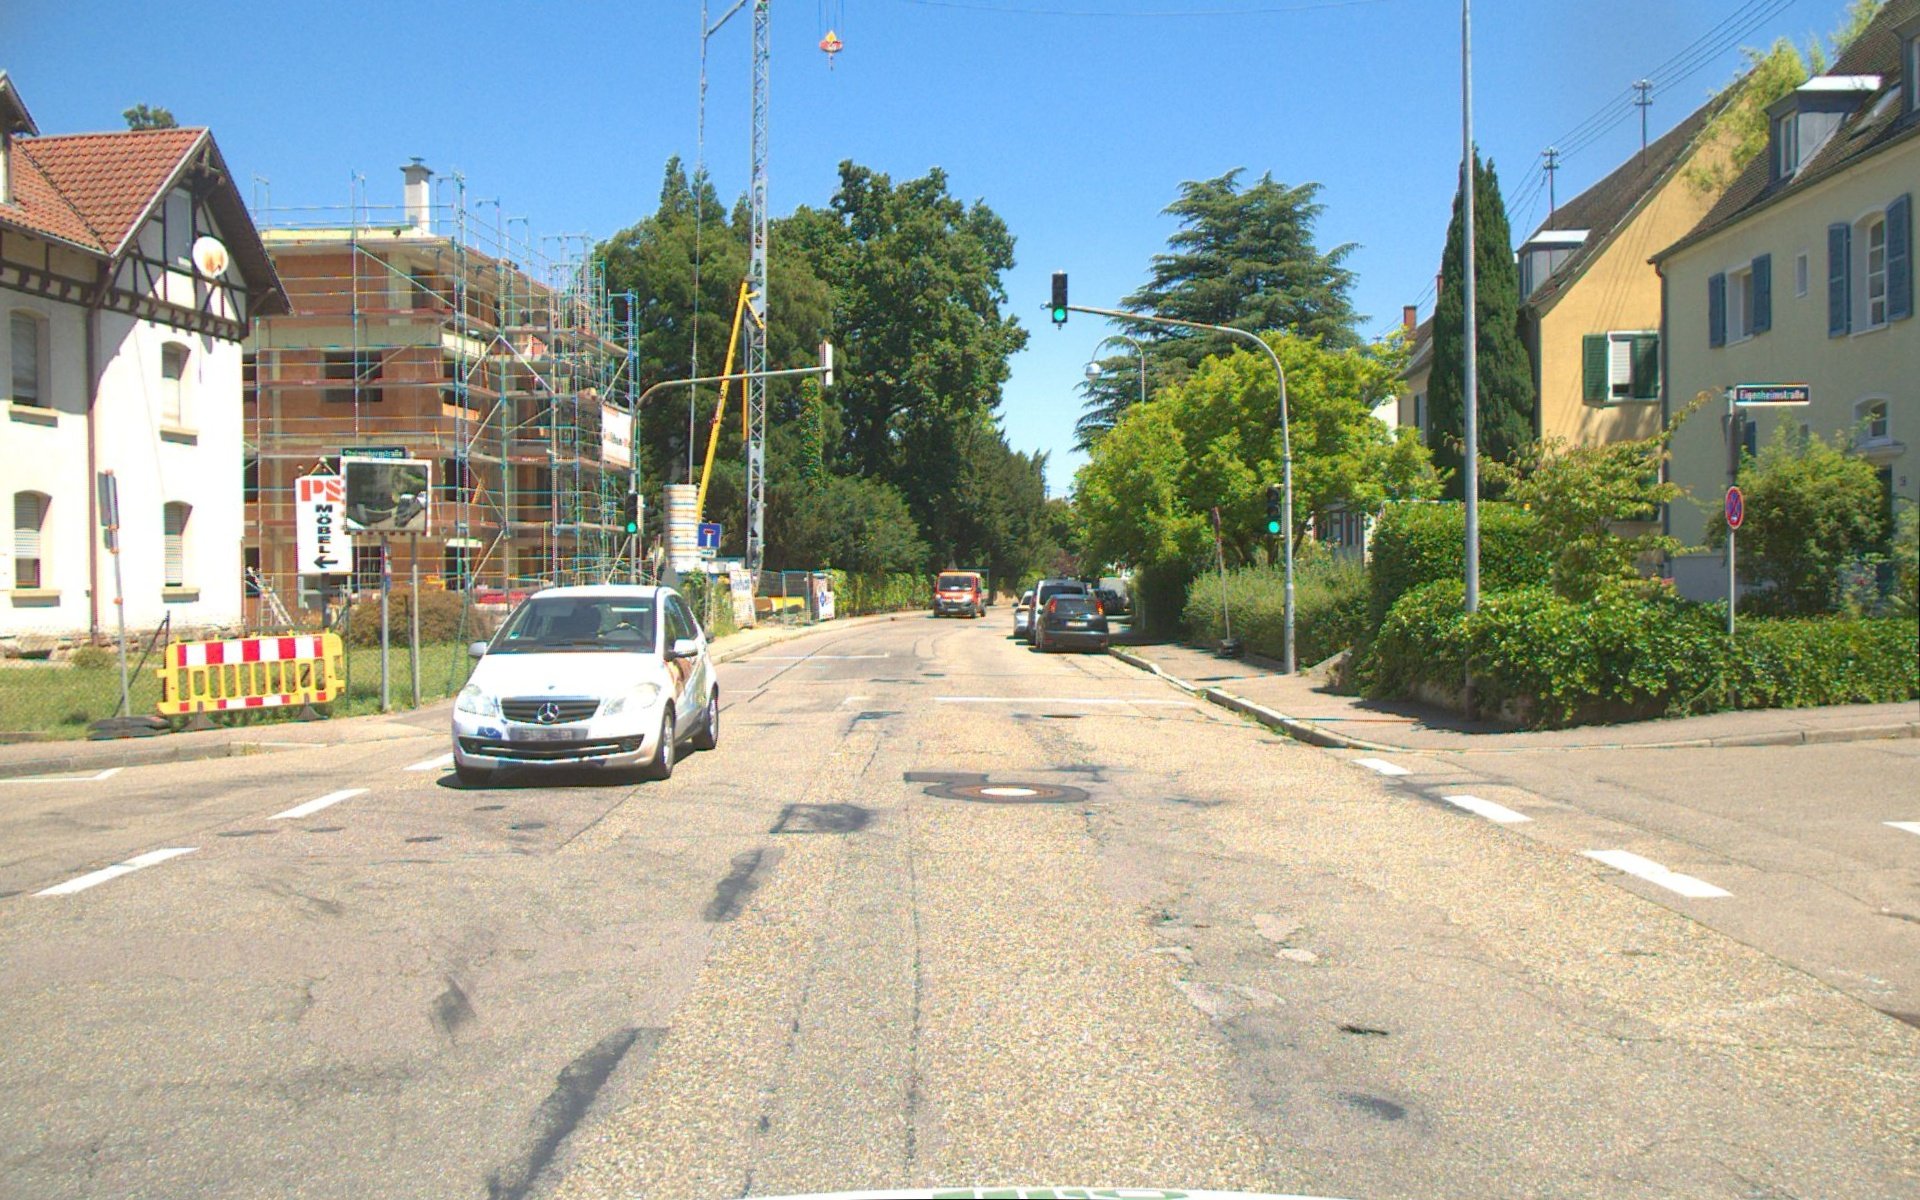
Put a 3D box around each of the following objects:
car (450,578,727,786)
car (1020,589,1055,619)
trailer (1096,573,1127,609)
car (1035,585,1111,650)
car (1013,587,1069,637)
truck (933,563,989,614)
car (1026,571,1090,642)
[{"bbox_3d":[-3.189,0.637,14.936,1.619,1.589,3.884,-2,0,-1],"label":"car"},{"bbox_3d":[4.155,0.203,88.435,1.756,1.536,4.002,2,0,4],"label":"car"},{"bbox_3d":[9.252,-0.559,101.017,1.644,2.104,3.711,2,1,8],"label":"trailer"},{"bbox_3d":[2.823,0.403,41.927,1.595,1.488,4.016,3,0,0],"label":"car"},{"bbox_3d":[2.569,0.341,51.988,1.627,1.460,4.131,2,0,4],"label":"car"},{"bbox_3d":[0.106,-0.576,81.150,2.082,2.379,6.439,1,1,6],"label":"truck"},{"bbox_3d":[2.725,0.167,46.608,1.627,1.834,4.204,3,0,2],"label":"car"}]
